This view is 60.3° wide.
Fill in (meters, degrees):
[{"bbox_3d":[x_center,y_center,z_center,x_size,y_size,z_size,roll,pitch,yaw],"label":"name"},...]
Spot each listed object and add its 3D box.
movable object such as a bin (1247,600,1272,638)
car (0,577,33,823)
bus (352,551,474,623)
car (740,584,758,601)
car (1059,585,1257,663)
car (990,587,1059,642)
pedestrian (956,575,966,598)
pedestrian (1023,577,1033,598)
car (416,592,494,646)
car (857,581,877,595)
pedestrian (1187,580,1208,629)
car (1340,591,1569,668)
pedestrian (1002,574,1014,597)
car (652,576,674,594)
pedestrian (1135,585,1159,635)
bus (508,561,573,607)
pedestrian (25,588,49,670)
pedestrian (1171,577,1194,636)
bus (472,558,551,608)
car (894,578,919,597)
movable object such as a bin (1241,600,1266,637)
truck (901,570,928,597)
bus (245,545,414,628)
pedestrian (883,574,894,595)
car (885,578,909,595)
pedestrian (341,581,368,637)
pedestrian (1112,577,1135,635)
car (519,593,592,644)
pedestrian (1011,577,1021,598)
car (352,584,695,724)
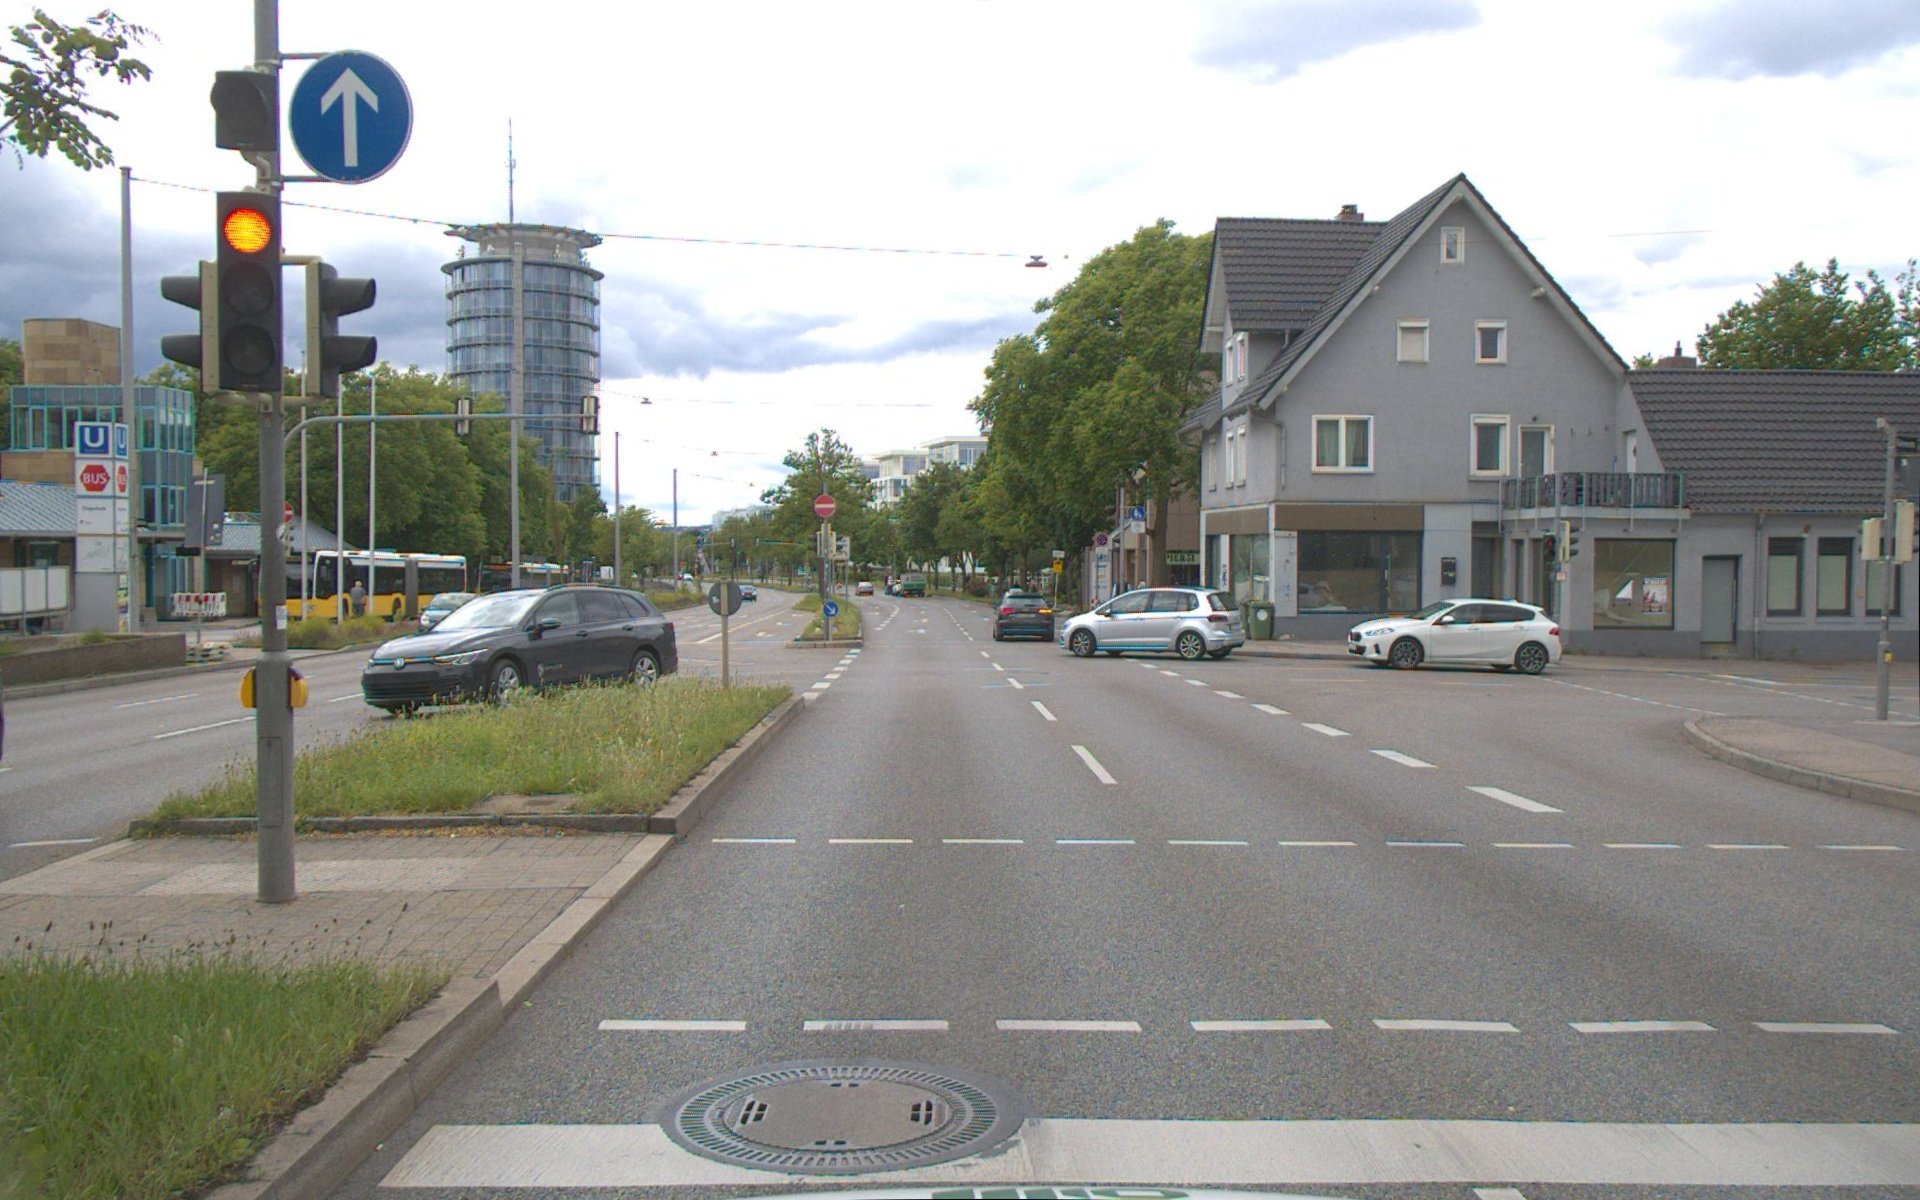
[{"bbox_3d":[8.000,0.493,44.162,0.518,0.997,0.736,0,0,-1],"label":"movable object such as a bin"},{"bbox_3d":[-6.835,0.670,8.722,1.799,1.547,4.068,-2,1,-5],"label":"car"},{"bbox_3d":[-26.542,-0.617,80.719,2.927,3.327,7.879,-1,0,3],"label":"bus"},{"bbox_3d":[-19.667,-0.690,154.236,1.670,1.518,3.555,-1,0,-8],"label":"car"},{"bbox_3d":[4.453,0.508,37.239,4.024,1.567,1.825,2,0,29],"label":"car"},{"bbox_3d":[1.889,0.417,49.390,1.851,1.521,4.098,-1,0,-1],"label":"car"},{"bbox_3d":[0.119,-1.437,177.292,0.914,2.349,1.008,1,-1,-10],"label":"pedestrian"},{"bbox_3d":[5.198,-0.969,126.842,0.638,1.597,0.669,0,0,-9],"label":"pedestrian"},{"bbox_3d":[-15.471,0.561,50.815,1.652,1.606,3.344,0,0,-6],"label":"car"},{"bbox_3d":[-9.712,-1.268,173.024,1.929,1.444,4.017,0,0,-6],"label":"car"},{"bbox_3d":[8.264,0.158,57.495,0.690,1.691,0.871,0,0,7],"label":"pedestrian"},{"bbox_3d":[10.309,0.600,34.687,4.157,1.503,1.999,1,0,-3],"label":"car"},{"bbox_3d":[4.311,-1.290,148.752,0.951,2.049,0.981,1,-1,-2],"label":"pedestrian"},{"bbox_3d":[-35.897,-1.839,199.744,1.925,2.049,3.999,1,0,-1],"label":"car"},{"bbox_3d":[5.794,0.298,51.374,0.690,1.533,0.870,0,0,3],"label":"pedestrian"},{"bbox_3d":[-31.141,-1.139,123.012,3.081,3.281,7.762,0,0,-2],"label":"bus"},{"bbox_3d":[-18.497,0.579,33.139,0.414,1.619,0.353,0,0,-30],"label":"pedestrian"},{"bbox_3d":[6.835,0.199,50.871,0.690,1.791,1.053,0,0,7],"label":"pedestrian"},{"bbox_3d":[-30.779,-1.123,114.014,3.082,3.281,10.279,0,0,-3],"label":"bus"},{"bbox_3d":[-5.394,-1.251,165.003,2.207,1.787,4.927,0,0,-5],"label":"car"},{"bbox_3d":[7.970,0.503,44.952,0.518,0.997,0.736,0,0,-1],"label":"movable object such as a bin"},{"bbox_3d":[-4.341,-1.543,156.426,2.207,2.459,4.927,0,0,-5],"label":"truck"},{"bbox_3d":[-27.079,-0.564,71.695,2.927,3.307,10.174,-1,0,3],"label":"bus"},{"bbox_3d":[-8.586,-1.879,199.218,1.210,2.444,1.306,0,0,-10],"label":"pedestrian"},{"bbox_3d":[-6.594,-1.398,173.781,2.207,1.676,4.927,0,0,-6],"label":"car"},{"bbox_3d":[-20.760,0.307,56.702,0.647,1.930,0.685,0,0,-1],"label":"pedestrian"},{"bbox_3d":[5.118,0.196,51.939,0.690,1.811,0.871,-1,0,5],"label":"pedestrian"},{"bbox_3d":[-12.362,0.546,50.726,1.651,1.488,3.552,0,0,-5],"label":"car"},{"bbox_3d":[4.324,-0.990,126.951,0.638,1.597,0.669,0,0,-9],"label":"pedestrian"},{"bbox_3d":[-5.250,0.572,20.487,1.676,1.506,4.283,1,1,27],"label":"car"}]
